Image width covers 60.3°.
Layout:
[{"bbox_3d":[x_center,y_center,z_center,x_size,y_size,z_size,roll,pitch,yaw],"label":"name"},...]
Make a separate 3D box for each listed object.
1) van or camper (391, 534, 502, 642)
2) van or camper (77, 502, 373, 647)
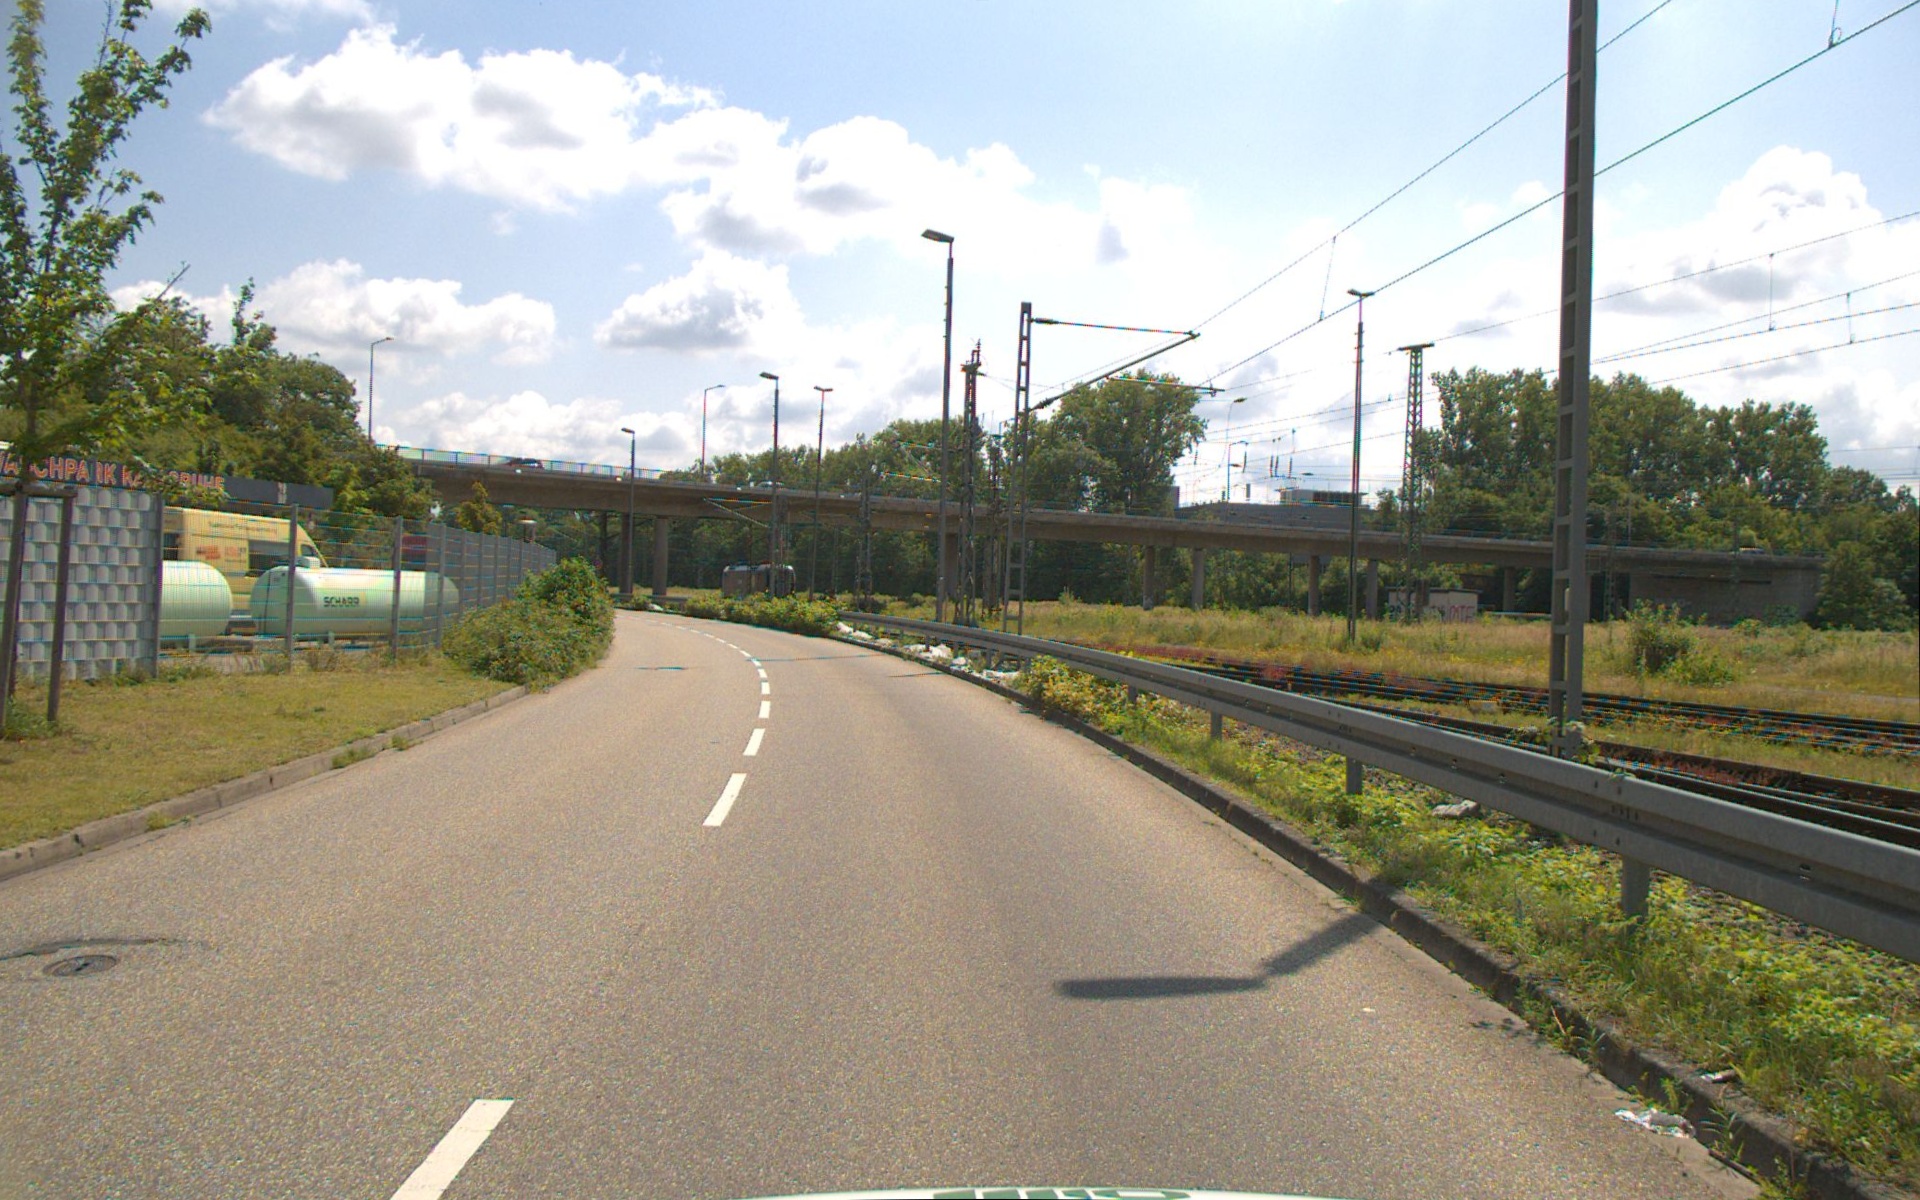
[{"bbox_3d":[-13.006,-0.323,42.231,2.149,2.558,5.685,-1,1,-12],"label":"van or camper"},{"bbox_3d":[-13.729,-0.426,31.412,2.194,2.468,5.664,1,0,12],"label":"van or camper"}]
